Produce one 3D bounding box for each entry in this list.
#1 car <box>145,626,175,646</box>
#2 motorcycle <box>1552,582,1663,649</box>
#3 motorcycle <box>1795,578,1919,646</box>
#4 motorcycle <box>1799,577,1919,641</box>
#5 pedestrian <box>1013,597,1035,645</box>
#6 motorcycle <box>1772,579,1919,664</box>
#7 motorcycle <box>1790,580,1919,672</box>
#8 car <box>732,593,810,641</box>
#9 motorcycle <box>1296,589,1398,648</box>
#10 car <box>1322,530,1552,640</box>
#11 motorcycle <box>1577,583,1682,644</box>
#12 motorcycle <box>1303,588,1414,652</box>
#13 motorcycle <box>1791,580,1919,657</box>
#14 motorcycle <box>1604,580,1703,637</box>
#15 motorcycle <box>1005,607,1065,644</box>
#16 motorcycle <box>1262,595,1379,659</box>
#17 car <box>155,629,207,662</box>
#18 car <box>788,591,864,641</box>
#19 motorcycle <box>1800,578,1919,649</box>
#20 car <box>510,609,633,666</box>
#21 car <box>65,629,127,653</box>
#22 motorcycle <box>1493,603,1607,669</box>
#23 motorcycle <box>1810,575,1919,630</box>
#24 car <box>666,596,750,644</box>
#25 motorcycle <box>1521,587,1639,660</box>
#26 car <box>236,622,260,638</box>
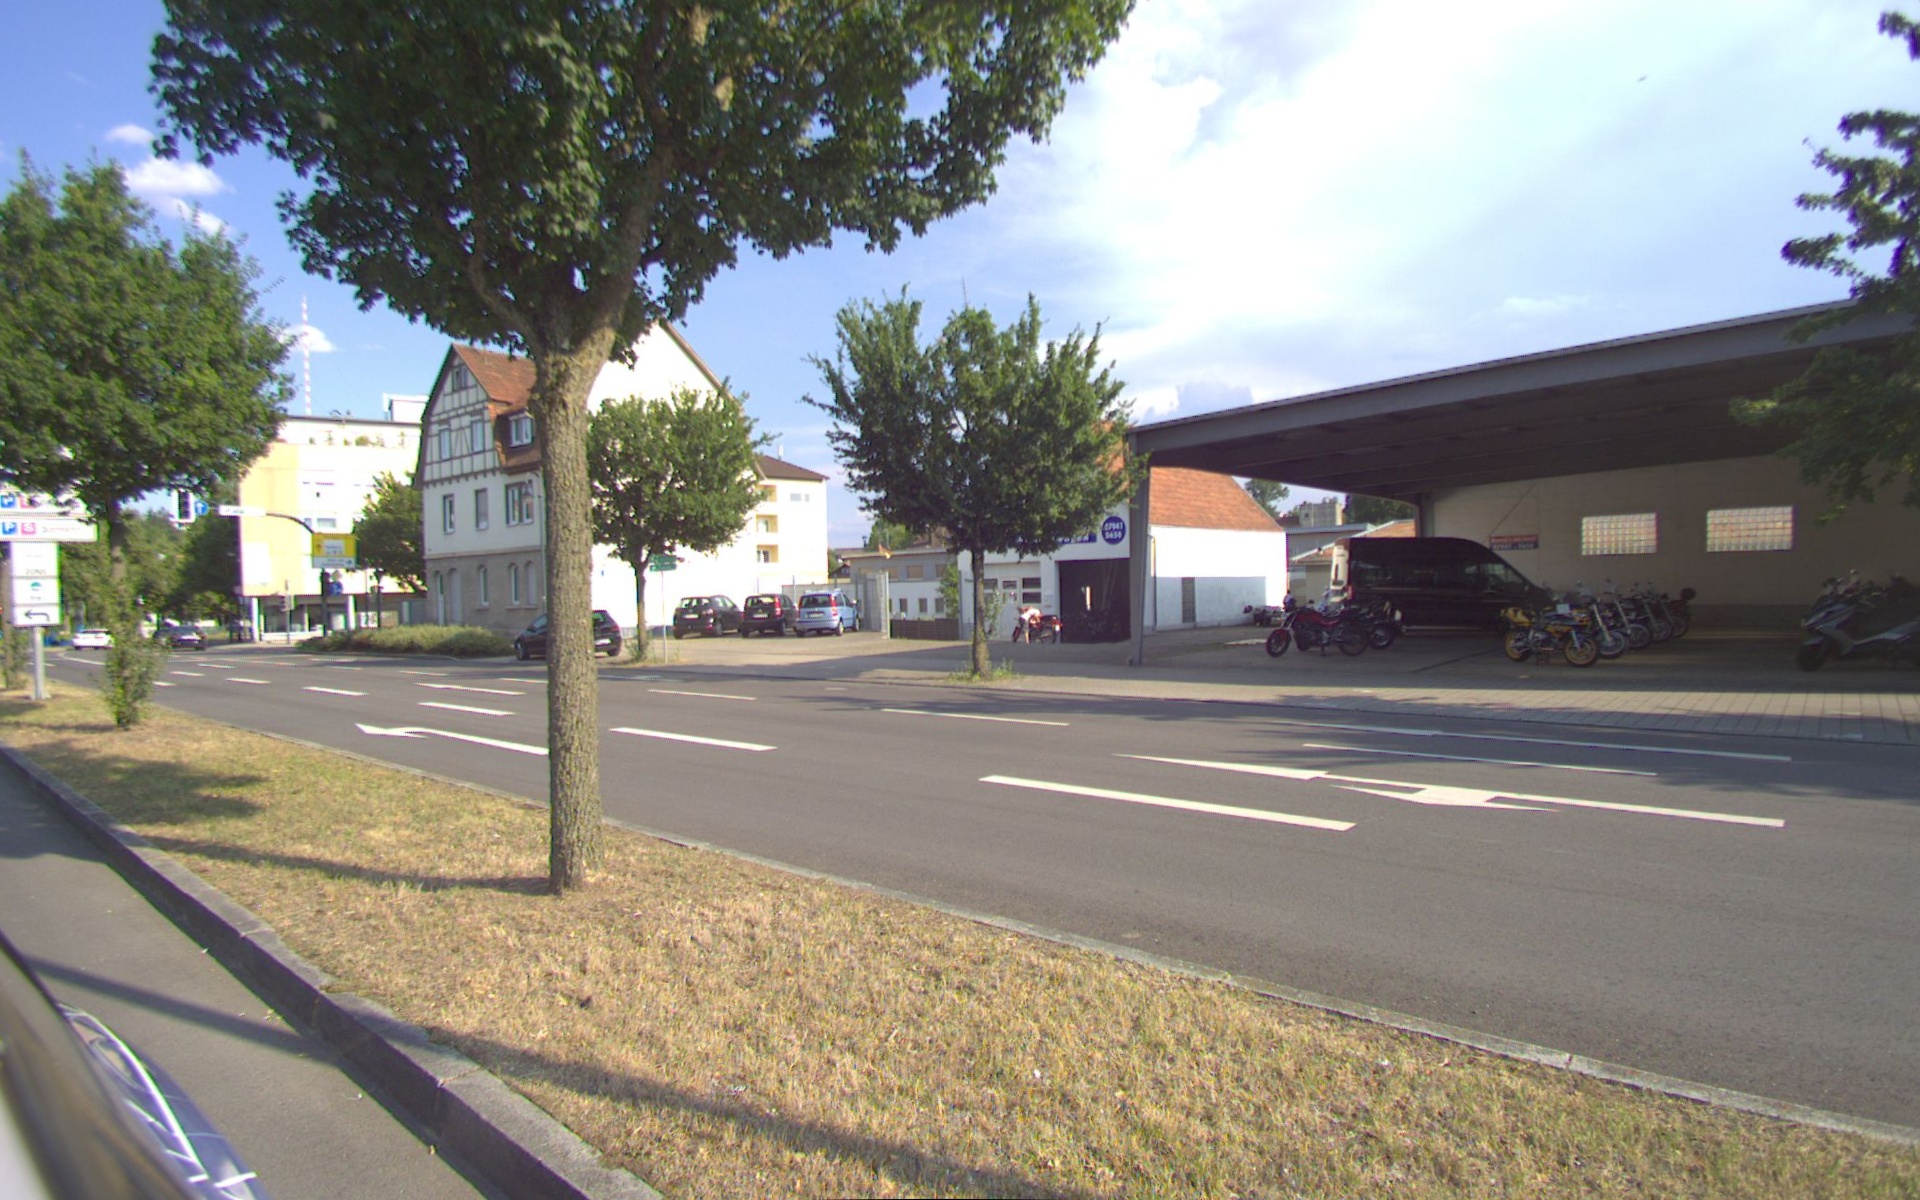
[{"bbox_3d":[-71.976,3.226,91.080,1.753,1.706,4.011,-1,0,-34],"label":"car"},{"bbox_3d":[13.874,0.323,21.778,0.621,1.347,2.269,-1,0,-9],"label":"motorcycle"},{"bbox_3d":[19.044,0.255,21.297,2.103,1.306,0.628,-3,-1,18],"label":"motorcycle"},{"bbox_3d":[20.238,0.205,22.652,2.103,1.306,0.628,-3,-1,18],"label":"motorcycle"},{"bbox_3d":[2.083,0.675,32.774,0.485,1.530,0.496,-1,0,41],"label":"pedestrian"},{"bbox_3d":[14.922,0.360,16.784,2.103,1.306,0.628,-3,-1,18],"label":"motorcycle"},{"bbox_3d":[13.870,0.374,15.124,2.103,1.306,0.628,-3,-1,18],"label":"motorcycle"},{"bbox_3d":[-6.910,0.586,37.318,1.797,1.512,3.819,-3,2,5],"label":"car"},{"bbox_3d":[9.388,0.451,24.617,2.198,1.372,0.630,-1,0,5],"label":"motorcycle"},{"bbox_3d":[12.876,-0.379,27.637,5.221,2.773,1.996,-1,0,7],"label":"car"},{"bbox_3d":[15.547,0.301,23.587,0.621,1.347,2.269,-1,0,-9],"label":"motorcycle"},{"bbox_3d":[8.966,0.449,22.813,2.198,1.372,0.630,-1,0,5],"label":"motorcycle"},{"bbox_3d":[16.540,0.339,18.356,2.103,1.306,0.628,-3,-1,18],"label":"motorcycle"},{"bbox_3d":[17.300,0.218,25.311,0.621,1.347,2.269,-1,0,-9],"label":"motorcycle"},{"bbox_3d":[2.444,0.838,33.220,1.974,1.194,0.577,-1,0,41],"label":"motorcycle"},{"bbox_3d":[7.506,0.561,21.169,2.202,1.290,0.629,-1,0,11],"label":"motorcycle"},{"bbox_3d":[-43.553,2.536,56.546,4.002,1.706,1.757,-1,0,45],"label":"car"},{"bbox_3d":[-4.672,0.520,35.688,1.797,1.512,3.819,-3,2,5],"label":"car"},{"bbox_3d":[18.054,0.268,19.996,2.103,1.306,0.628,-3,-1,18],"label":"motorcycle"},{"bbox_3d":[-11.590,1.081,30.088,3.823,1.462,1.795,-1,2,42],"label":"car"},{"bbox_3d":[-57.818,2.722,67.815,1.752,1.480,4.388,-1,0,-21],"label":"car"},{"bbox_3d":[10.540,0.618,18.160,0.621,1.095,2.038,-1,0,-7],"label":"motorcycle"},{"bbox_3d":[23.744,0.071,26.529,2.103,1.306,0.628,-3,-1,18],"label":"motorcycle"},{"bbox_3d":[-9.311,0.691,37.710,1.797,1.512,3.819,-3,2,5],"label":"car"},{"bbox_3d":[12.168,0.436,19.965,0.621,1.347,2.269,-1,0,-9],"label":"motorcycle"},{"bbox_3d":[-84.162,3.544,119.657,1.752,1.706,4.013,-1,0,-27],"label":"car"}]
